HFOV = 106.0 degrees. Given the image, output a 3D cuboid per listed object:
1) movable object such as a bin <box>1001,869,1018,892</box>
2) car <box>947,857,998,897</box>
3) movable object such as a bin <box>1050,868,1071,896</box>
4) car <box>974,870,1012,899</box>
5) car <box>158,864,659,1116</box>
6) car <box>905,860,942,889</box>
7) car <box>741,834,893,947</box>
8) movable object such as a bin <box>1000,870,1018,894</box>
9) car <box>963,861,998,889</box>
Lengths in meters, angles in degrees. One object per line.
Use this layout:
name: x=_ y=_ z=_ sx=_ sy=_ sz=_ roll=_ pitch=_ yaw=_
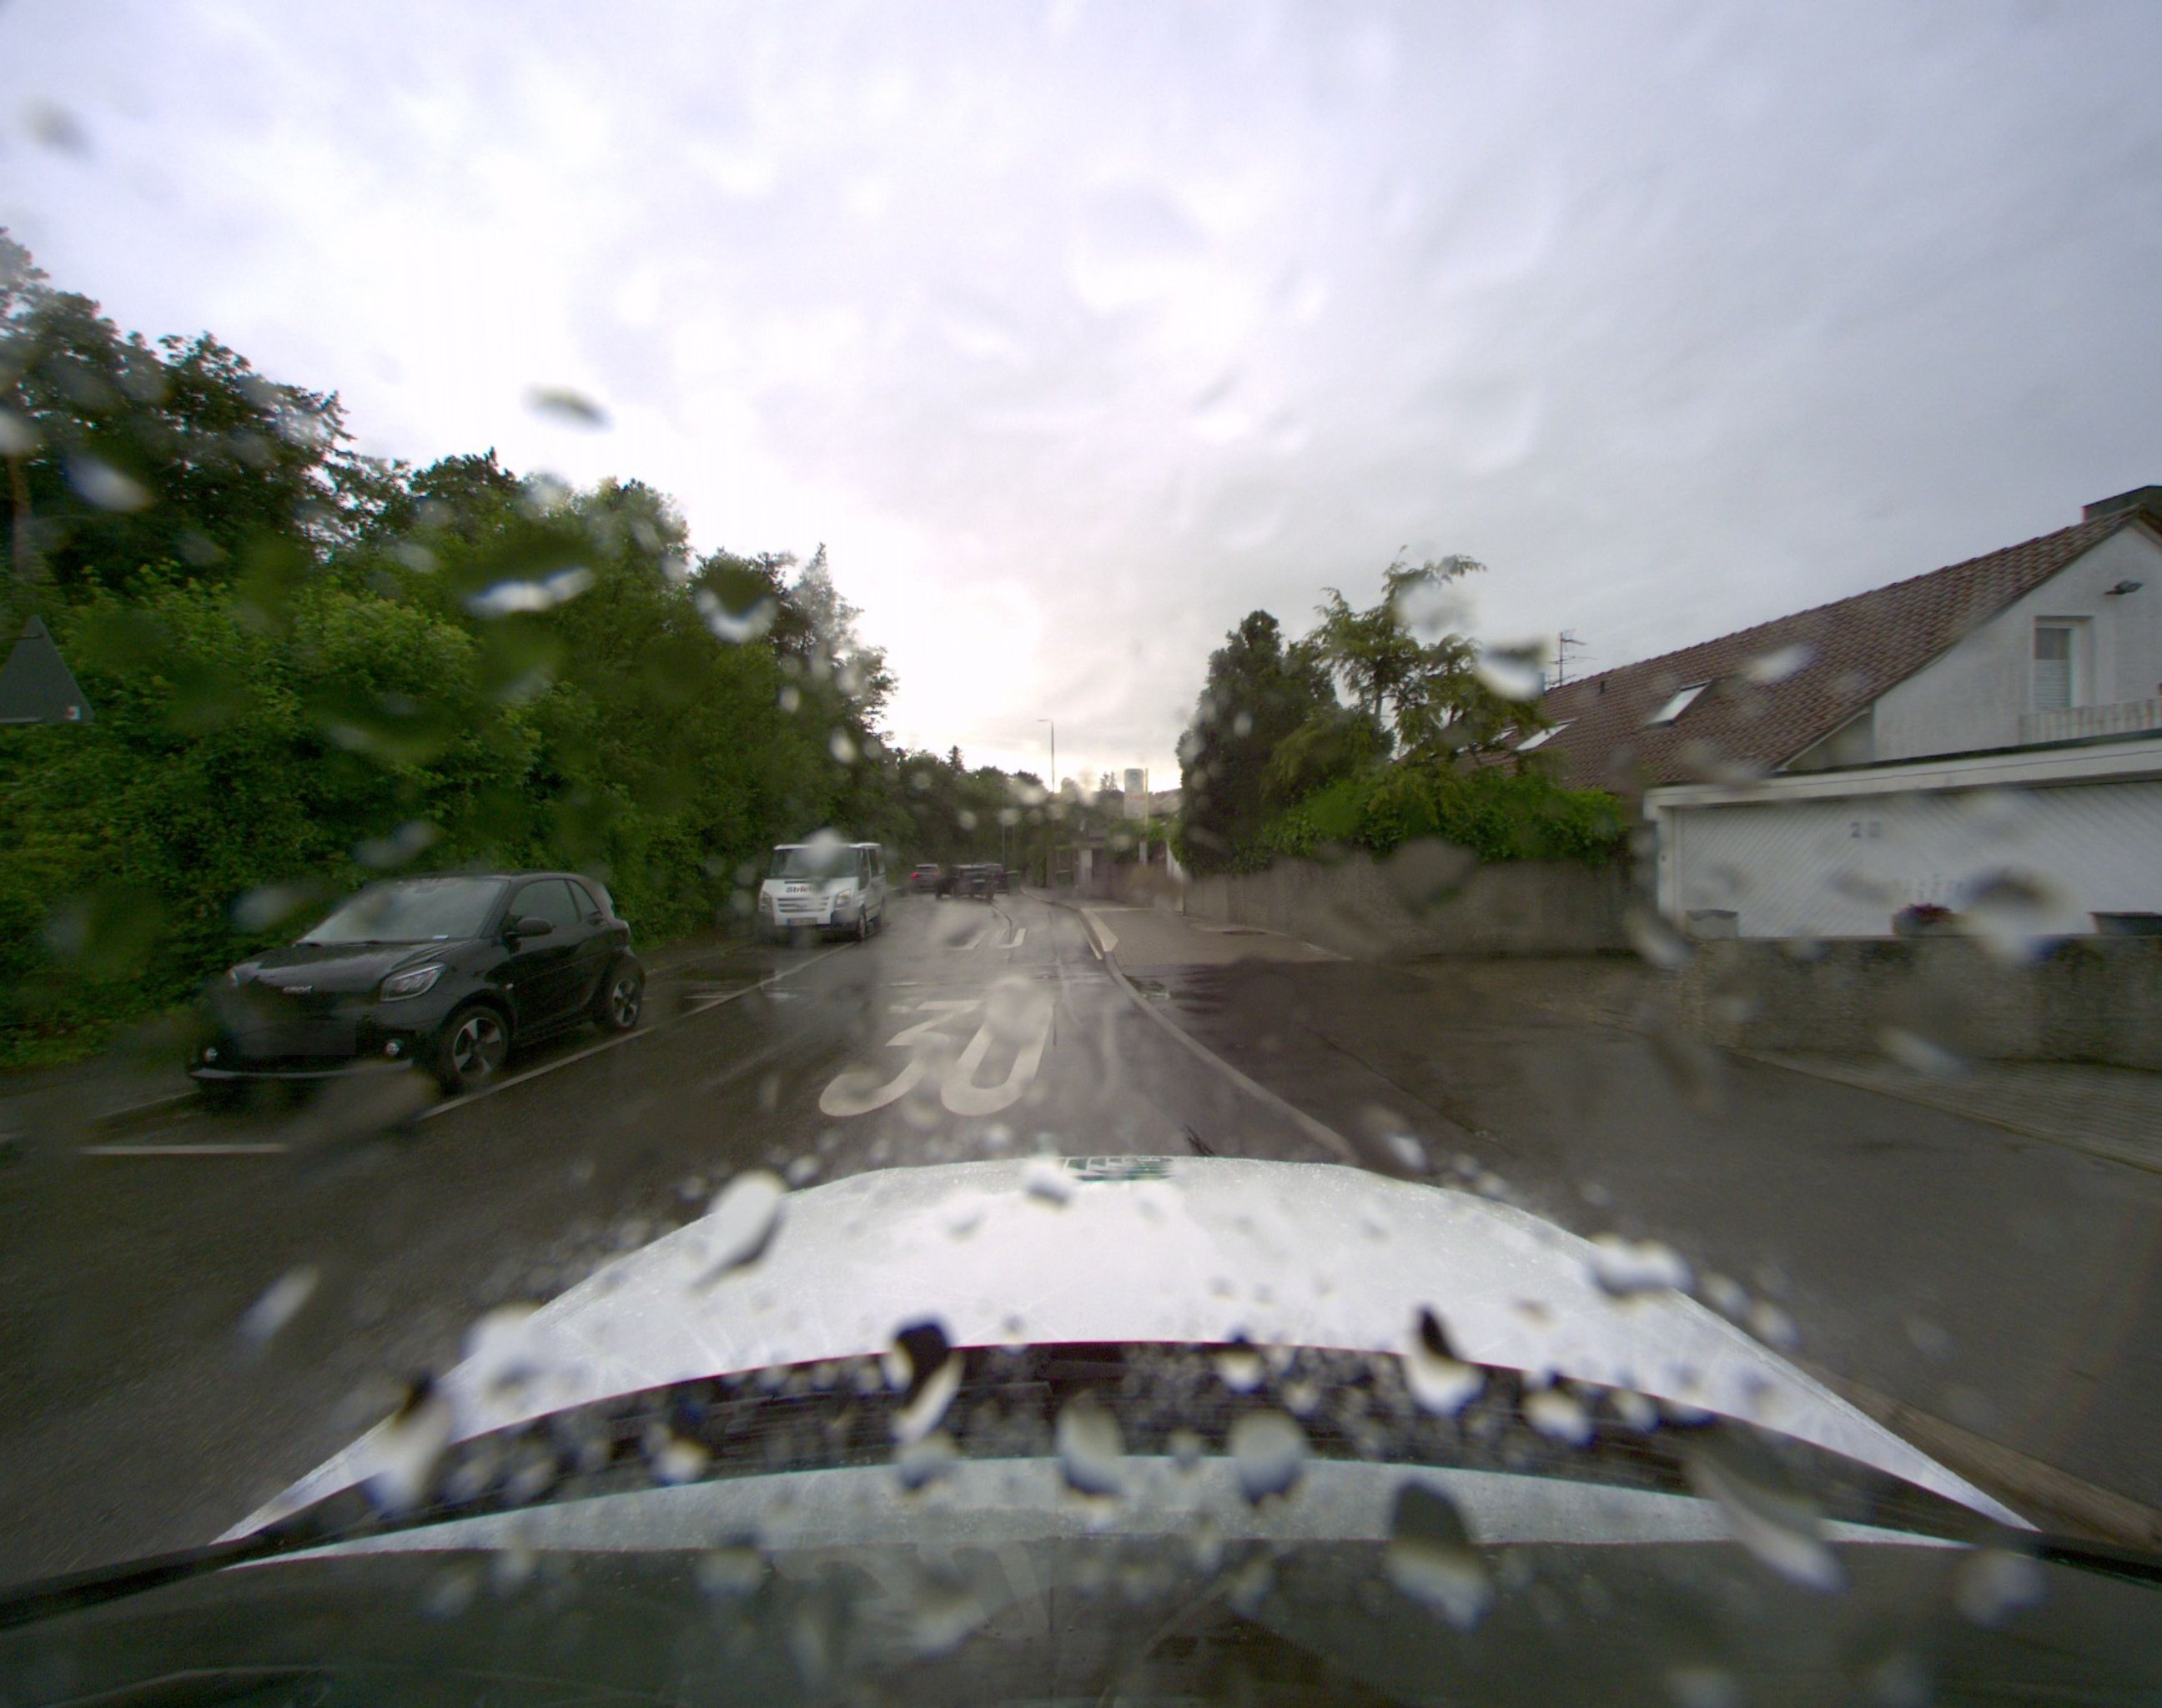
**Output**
movable object such as a bin: x=-3.391 y=1.265 z=38.842 sx=0.729 sy=1.078 sz=0.658 roll=0 pitch=-1 yaw=-13
car: x=-4.687 y=1.031 z=34.843 sx=1.869 sy=1.513 sz=4.075 roll=1 pitch=-4 yaw=-12
movable object such as a bin: x=-0.842 y=1.146 z=33.480 sx=0.738 sy=1.088 sz=0.598 roll=-3 pitch=0 yaw=-8
car: x=-4.911 y=1.647 z=44.801 sx=1.756 sy=1.462 sz=4.285 roll=0 pitch=0 yaw=-11
car: x=-4.975 y=0.866 z=6.581 sx=1.597 sy=1.511 sz=2.941 roll=-1 pitch=0 yaw=-1
car: x=-9.015 y=1.141 z=46.723 sx=1.994 sy=1.605 sz=4.393 roll=0 pitch=0 yaw=-11
car: x=-5.380 y=0.670 z=17.372 sx=2.110 sy=1.974 sz=5.159 roll=-1 pitch=0 yaw=-7
movable object such as a bin: x=-3.345 y=1.291 z=37.685 sx=0.716 sy=1.095 sz=0.653 roll=0 pitch=-1 yaw=-15
car: x=-6.256 y=1.270 z=50.255 sx=1.876 sy=1.592 sz=4.462 roll=-1 pitch=0 yaw=-11
